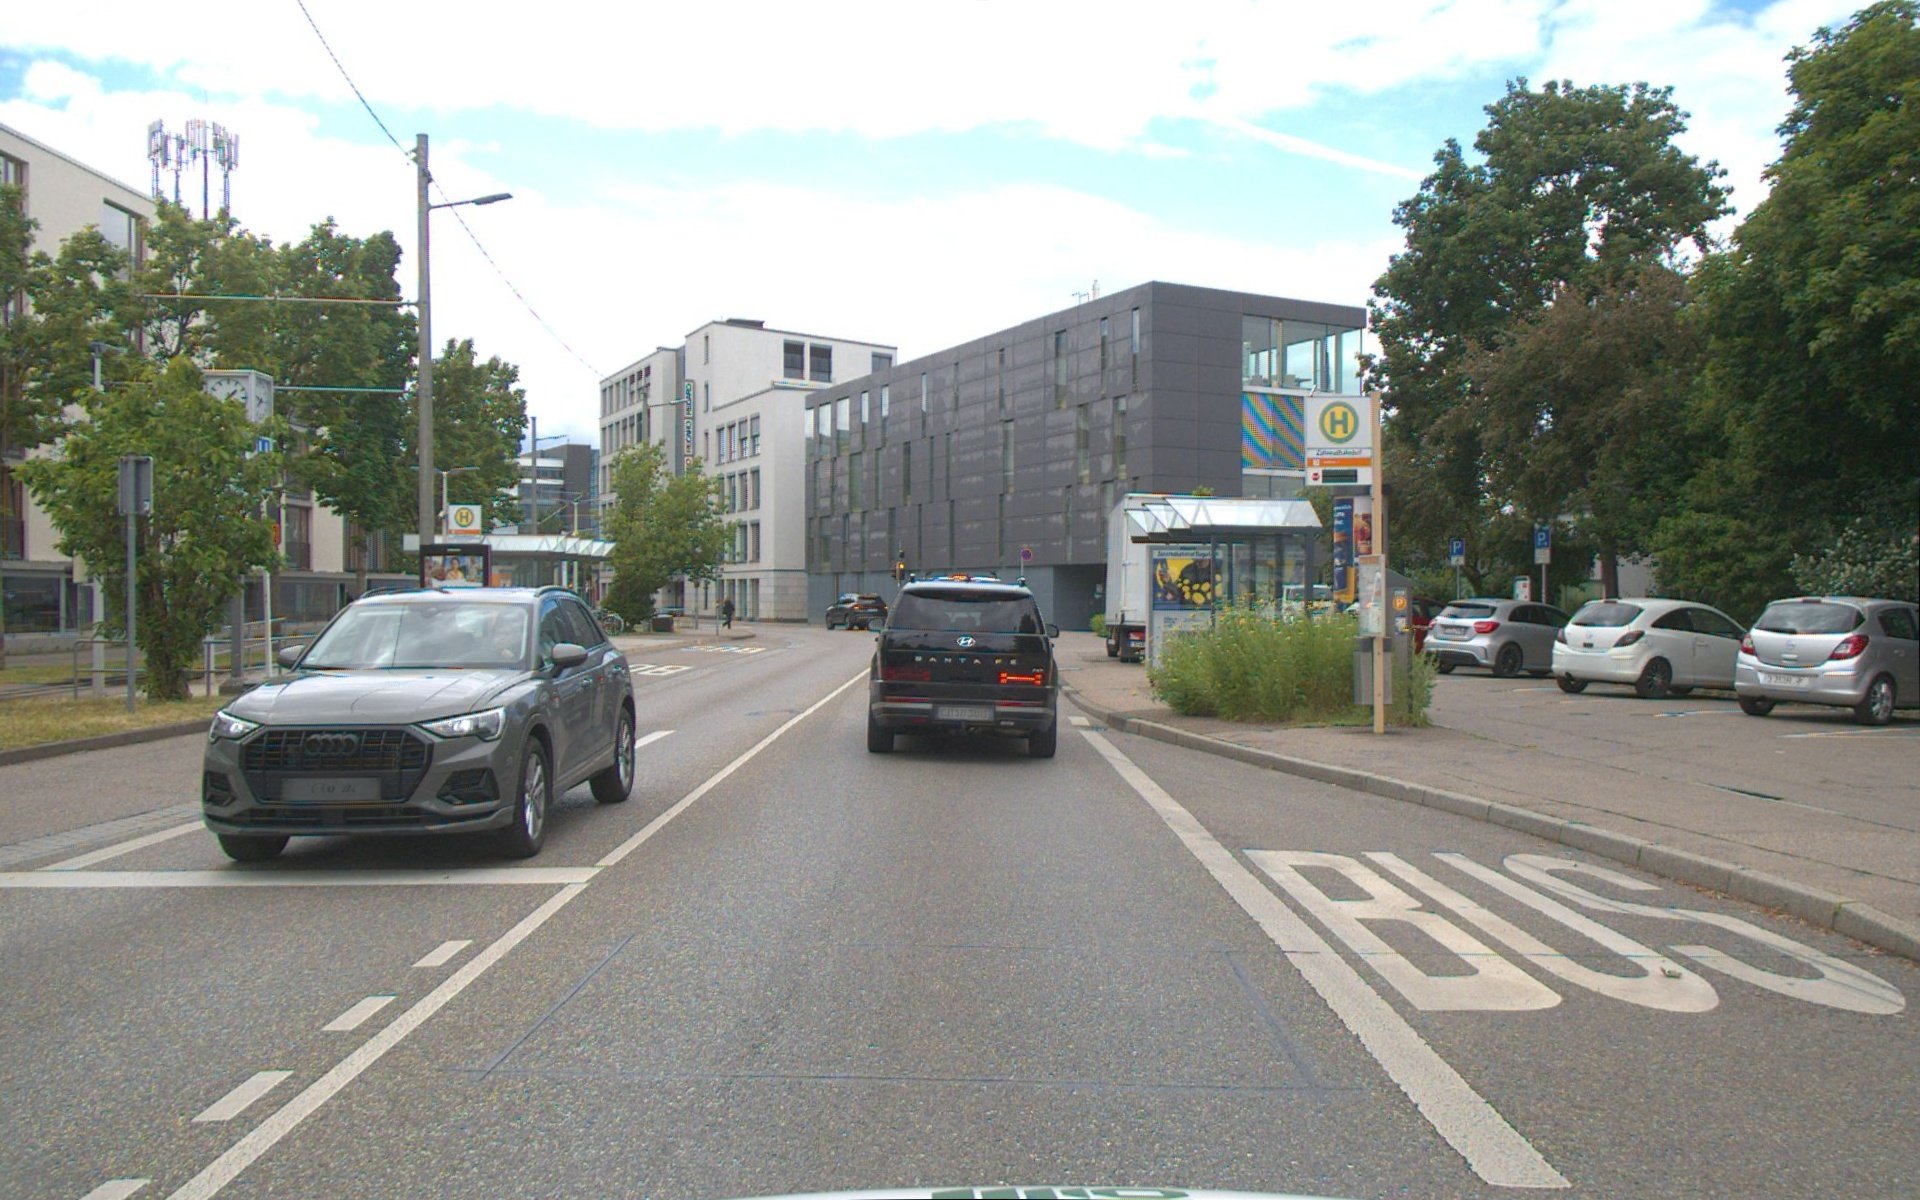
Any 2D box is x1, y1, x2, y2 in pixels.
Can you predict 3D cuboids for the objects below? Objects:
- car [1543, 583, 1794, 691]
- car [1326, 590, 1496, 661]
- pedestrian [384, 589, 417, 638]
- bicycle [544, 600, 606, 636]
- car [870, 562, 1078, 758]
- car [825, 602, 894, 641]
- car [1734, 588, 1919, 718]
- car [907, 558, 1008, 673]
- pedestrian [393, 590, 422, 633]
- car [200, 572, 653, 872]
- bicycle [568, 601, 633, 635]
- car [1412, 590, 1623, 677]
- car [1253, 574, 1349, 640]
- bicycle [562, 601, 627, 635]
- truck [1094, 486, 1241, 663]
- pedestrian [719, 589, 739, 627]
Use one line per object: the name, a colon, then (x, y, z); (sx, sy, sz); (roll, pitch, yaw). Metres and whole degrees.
car: (10.831, 0.550, 25.264); (3.596, 1.460, 1.577); (-2, -1, -28)
car: (9.954, 0.564, 36.484); (3.453, 1.481, 1.665); (2, -1, -29)
pedestrian: (-20.319, 0.492, 60.088); (0.900, 1.749, 0.906); (0, 0, -1)
bicycle: (-12.617, 0.577, 54.210); (1.889, 1.125, 0.587); (1, 0, 1)
car: (0.042, 0.547, 17.307); (1.877, 1.755, 4.168); (2, 0, -3)
car: (-4.712, 0.998, 77.026); (1.823, 1.706, 4.342); (-1, 0, -24)
car: (11.244, 0.592, 20.283); (3.470, 1.402, 1.531); (-1, 2, -31)
car: (-0.063, 0.264, 32.125); (1.817, 2.069, 4.437); (0, 0, -1)
pedestrian: (-22.718, 0.474, 68.053); (0.900, 1.749, 0.906); (0, 0, -1)
car: (-3.264, 0.663, 11.015); (1.704, 1.586, 4.182); (-1, 0, -1)
bicycle: (-12.427, 0.623, 57.184); (2.055, 1.125, 0.631); (1, 0, 1)
car: (10.541, 0.642, 31.233); (3.752, 1.499, 1.780); (2, -1, -31)
car: (10.457, 0.229, 51.079); (1.953, 1.870, 4.517); (-2, -1, 0)
bicycle: (-12.470, 0.611, 56.436); (2.055, 1.125, 0.631); (1, 0, 1)
truck: (4.546, -0.539, 37.573); (2.520, 3.587, 7.811); (0, 0, 1)
pedestrian: (-11.365, 0.385, 81.324); (0.921, 1.832, 0.589); (0, 0, -12)
